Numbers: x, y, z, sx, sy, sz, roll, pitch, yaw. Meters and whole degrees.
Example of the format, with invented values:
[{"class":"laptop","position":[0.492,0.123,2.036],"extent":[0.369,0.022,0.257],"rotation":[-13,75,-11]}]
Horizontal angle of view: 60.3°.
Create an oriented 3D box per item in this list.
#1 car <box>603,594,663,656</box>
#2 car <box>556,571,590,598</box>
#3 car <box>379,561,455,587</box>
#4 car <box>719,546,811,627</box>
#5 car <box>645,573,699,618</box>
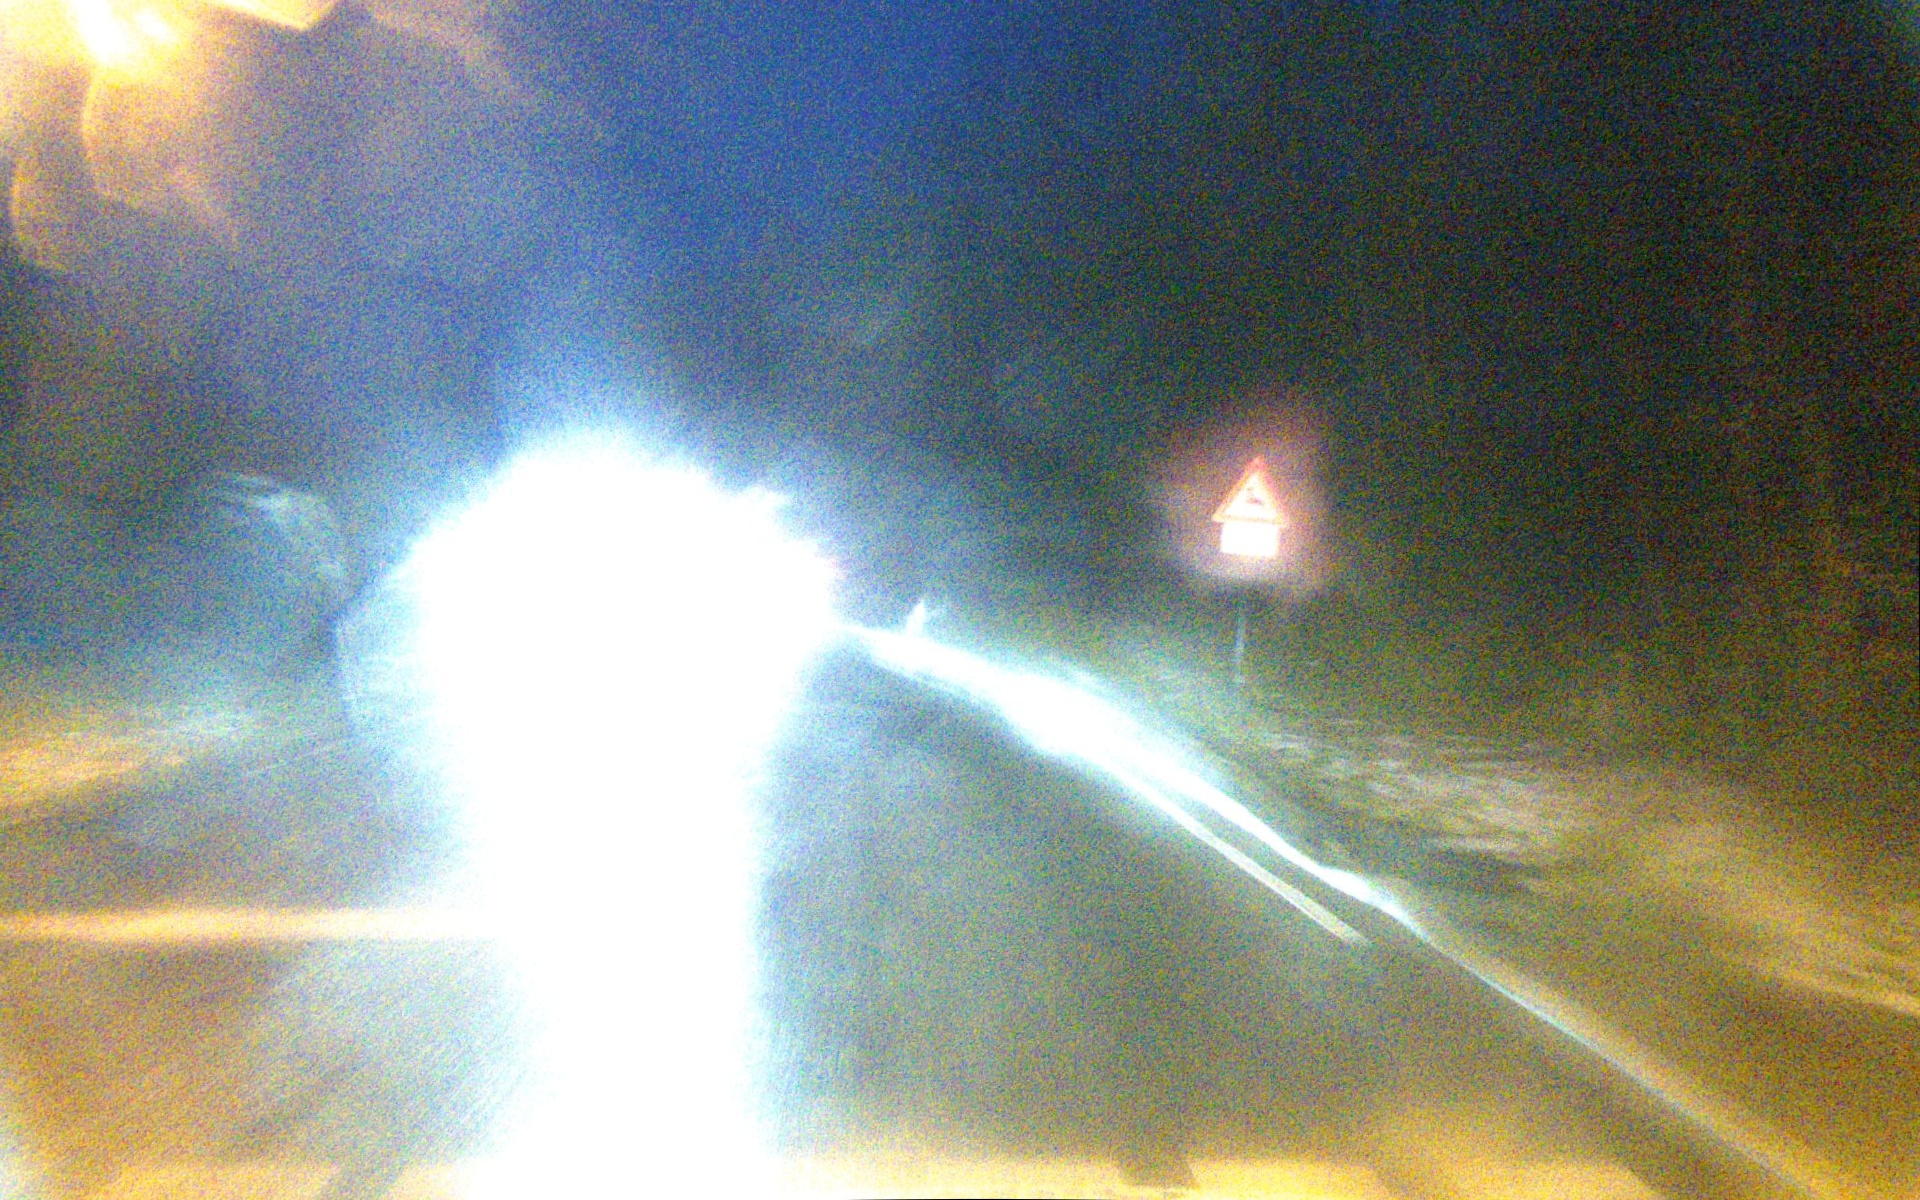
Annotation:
[{"class":"car","position":[-11.768,0.912,59.567],"extent":[1.958,2.049,4.832],"rotation":[2,-2,-11]},{"class":"car","position":[-22.189,-0.890,94.836],"extent":[1.610,1.536,4.076],"rotation":[-1,1,-17]},{"class":"car","position":[-36.953,-1.756,112.578],"extent":[4.845,1.765,1.986],"rotation":[0,1,-23]},{"class":"car","position":[-6.591,-0.489,55.352],"extent":[2.495,2.541,5.697],"rotation":[0,1,-13]},{"class":"car","position":[-14.183,-0.192,81.323],"extent":[1.964,2.049,3.977],"rotation":[3,-2,-19]}]
